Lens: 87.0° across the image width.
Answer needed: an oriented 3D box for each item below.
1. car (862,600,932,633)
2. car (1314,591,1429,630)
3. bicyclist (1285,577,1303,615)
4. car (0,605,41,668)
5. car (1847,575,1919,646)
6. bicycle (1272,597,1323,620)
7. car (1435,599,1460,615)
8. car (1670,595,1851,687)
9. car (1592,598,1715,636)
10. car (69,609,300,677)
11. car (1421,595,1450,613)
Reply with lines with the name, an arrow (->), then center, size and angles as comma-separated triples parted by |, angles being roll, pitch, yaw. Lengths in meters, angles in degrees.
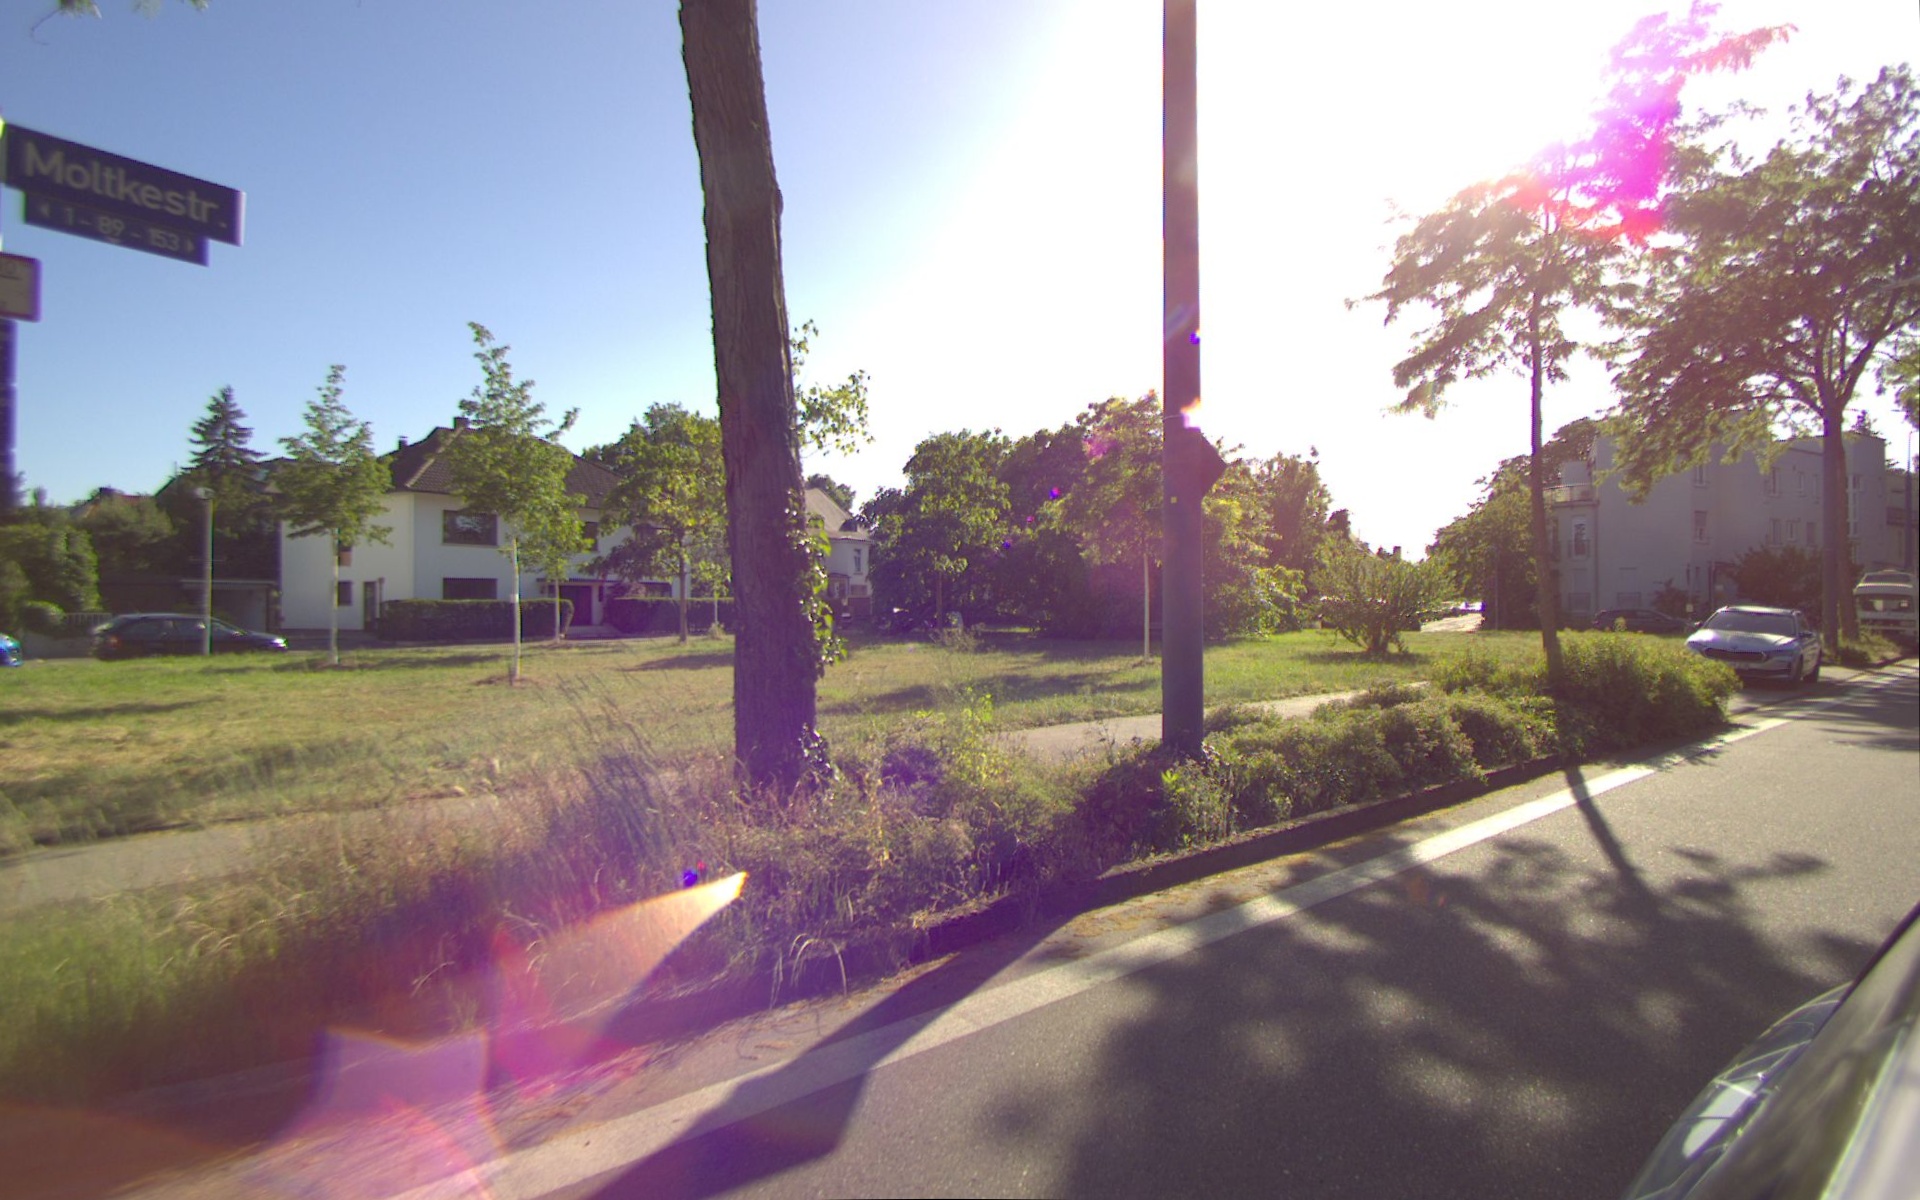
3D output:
car -> -3.604, 0.919, 58.319 | 1.987, 1.819, 3.949 | 0, 0, 36
car -> 20.950, 0.554, 51.573 | 5.171, 1.909, 2.077 | -1, -1, 32
bicyclist -> 18.429, -0.211, 55.832 | 0.843, 2.039, 0.818 | 0, -1, 28
car -> -24.371, 0.880, 23.073 | 2.047, 1.489, 4.706 | -1, 0, 30
car -> 29.764, 0.306, 32.111 | 4.637, 2.122, 1.996 | 0, 0, -43
bicycle -> 18.582, 0.491, 55.732 | 2.636, 1.247, 0.793 | 0, -1, 25
car -> 53.695, 0.772, 111.393 | 1.985, 1.728, 3.953 | -1, 0, 33
car -> 16.162, 0.712, 20.314 | 5.341, 1.483, 2.004 | -1, 3, -43
car -> 31.121, 0.735, 45.587 | 4.427, 1.508, 1.988 | 0, 3, 32
car -> -21.337, 1.123, 28.068 | 1.982, 1.671, 4.720 | -2, -1, 29
car -> 44.570, 0.363, 94.829 | 1.985, 1.715, 3.953 | -1, 0, 33
